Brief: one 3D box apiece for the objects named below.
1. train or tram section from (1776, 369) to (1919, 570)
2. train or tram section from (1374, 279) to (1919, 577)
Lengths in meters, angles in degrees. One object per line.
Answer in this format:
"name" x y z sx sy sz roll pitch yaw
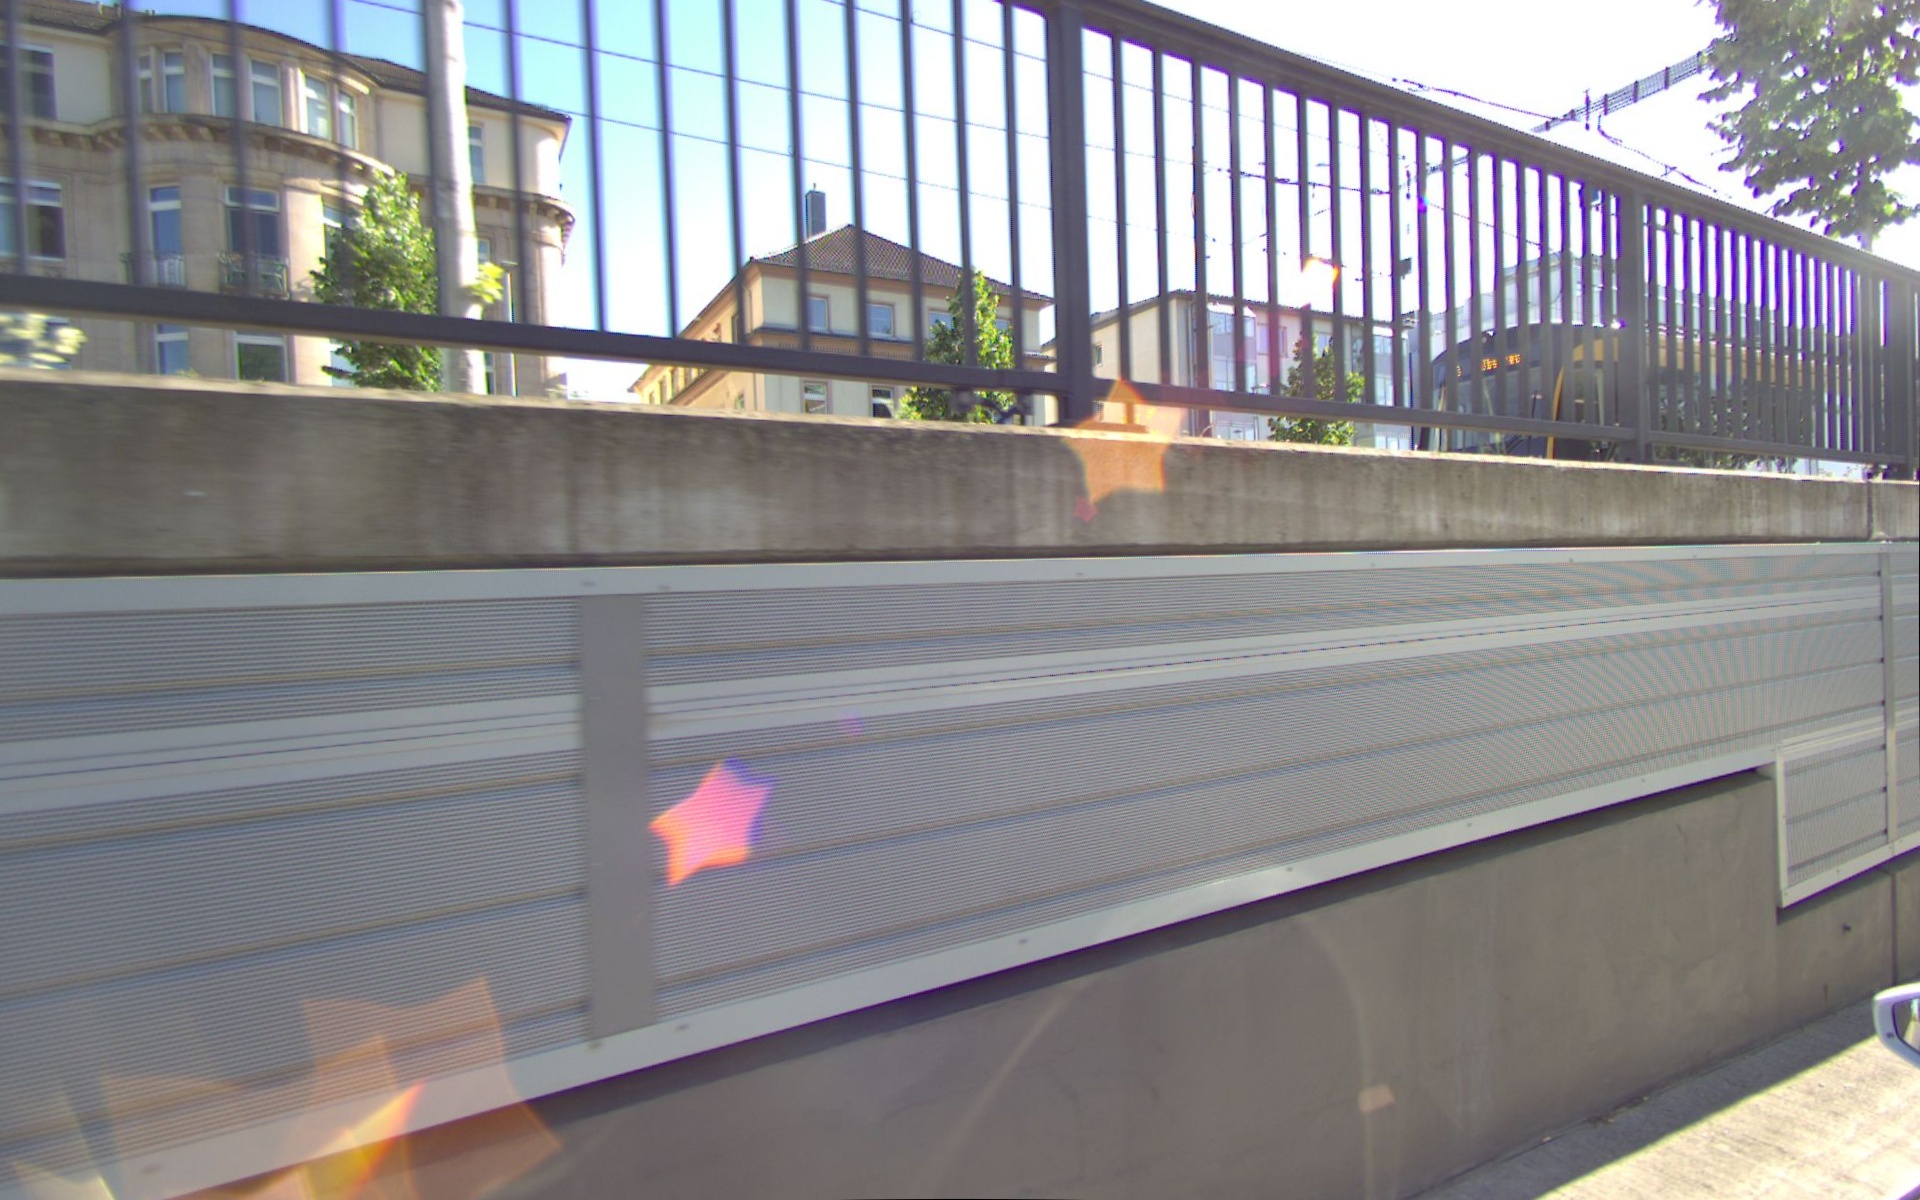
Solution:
"train or tram section" 23.693 -2.719 23.647 12.936 3.873 2.598 -2 2 -31
"train or tram section" 12.455 -2.341 17.046 13.181 3.705 2.598 -2 2 -30
